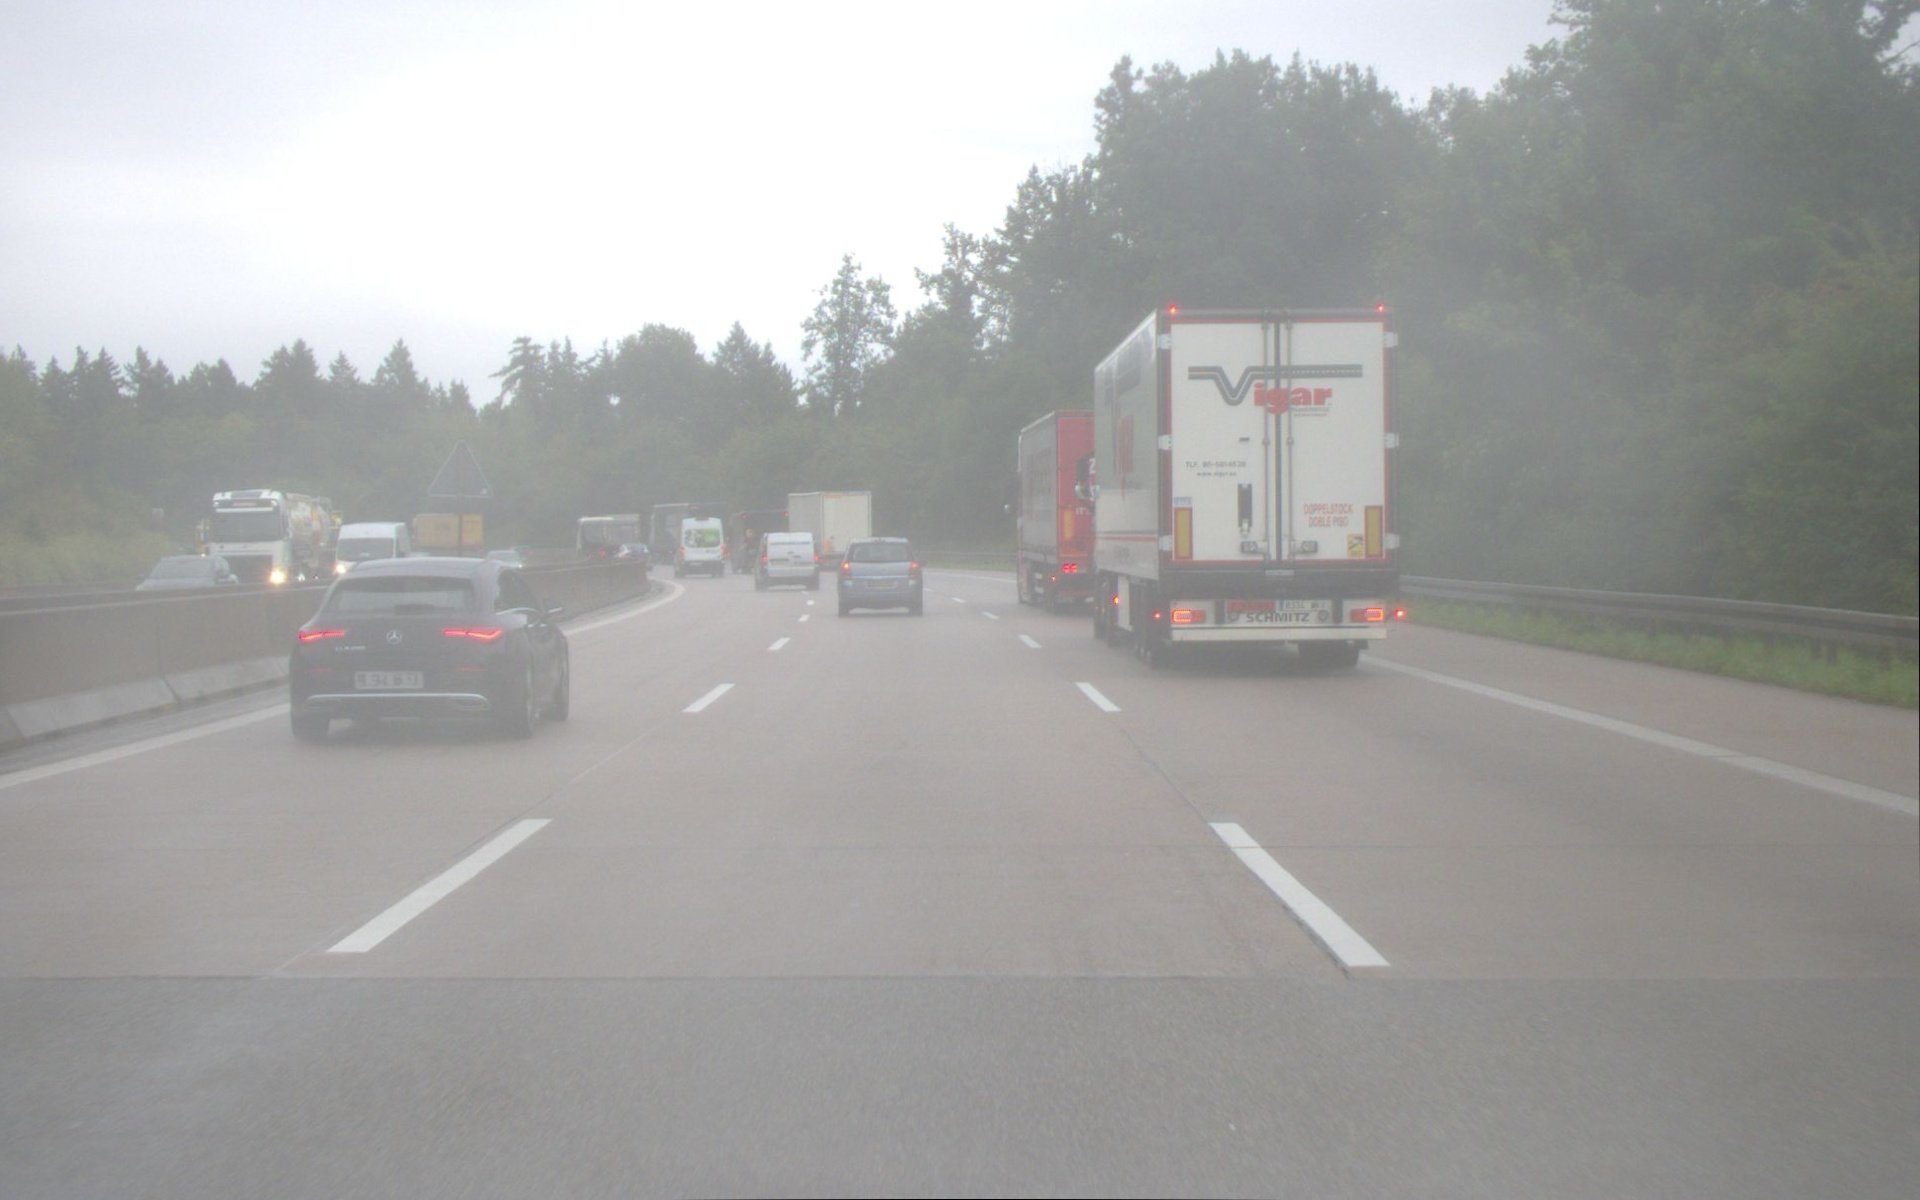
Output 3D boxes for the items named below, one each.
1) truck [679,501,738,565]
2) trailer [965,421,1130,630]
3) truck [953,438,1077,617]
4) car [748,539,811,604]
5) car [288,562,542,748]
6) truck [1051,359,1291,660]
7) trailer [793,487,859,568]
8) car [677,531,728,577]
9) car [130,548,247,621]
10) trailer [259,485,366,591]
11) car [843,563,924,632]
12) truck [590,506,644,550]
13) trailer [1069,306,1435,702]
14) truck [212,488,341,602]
[{"bbox_3d":[-16.820,-4.529,229.305,3.368,4.117,10.440,-1,2,-7],"label":"truck"},{"bbox_3d":[1.664,-1.521,71.492,2.370,3.940,12.522,1,1,-3],"label":"trailer"},{"bbox_3d":[1.204,-1.651,79.020,2.374,3.940,6.161,1,1,-3],"label":"truck"},{"bbox_3d":[-5.804,-0.939,110.207,1.725,2.007,3.658,-1,1,-7],"label":"car"},{"bbox_3d":[-4.309,0.393,27.599,1.553,1.347,3.684,1,1,-2],"label":"car"},{"bbox_3d":[2.985,-1.303,50.252,2.798,4.089,5.968,-1,1,-3],"label":"truck"},{"bbox_3d":[-7.015,-3.799,178.229,2.419,4.054,12.058,-1,2,-7],"label":"trailer"},{"bbox_3d":[-11.861,-2.113,158.215,1.993,2.052,4.001,-2,1,-8],"label":"car"},{"bbox_3d":[-16.973,-0.368,75.837,1.608,1.548,4.643,0,1,-1],"label":"car"},{"bbox_3d":[-23.257,-2.232,123.831,2.545,3.654,8.231,-1,1,-2],"label":"trailer"},{"bbox_3d":[-1.609,-0.071,71.155,1.553,1.347,3.684,1,1,-3],"label":"car"},{"bbox_3d":[-23.368,-4.935,234.214,3.082,2.895,7.906,0,2,-10],"label":"truck"},{"bbox_3d":[3.271,-1.129,42.753,2.734,4.089,13.684,-1,1,-3],"label":"trailer"},{"bbox_3d":[-23.017,-1.854,116.299,2.564,3.654,10.493,-1,1,-2],"label":"truck"}]
